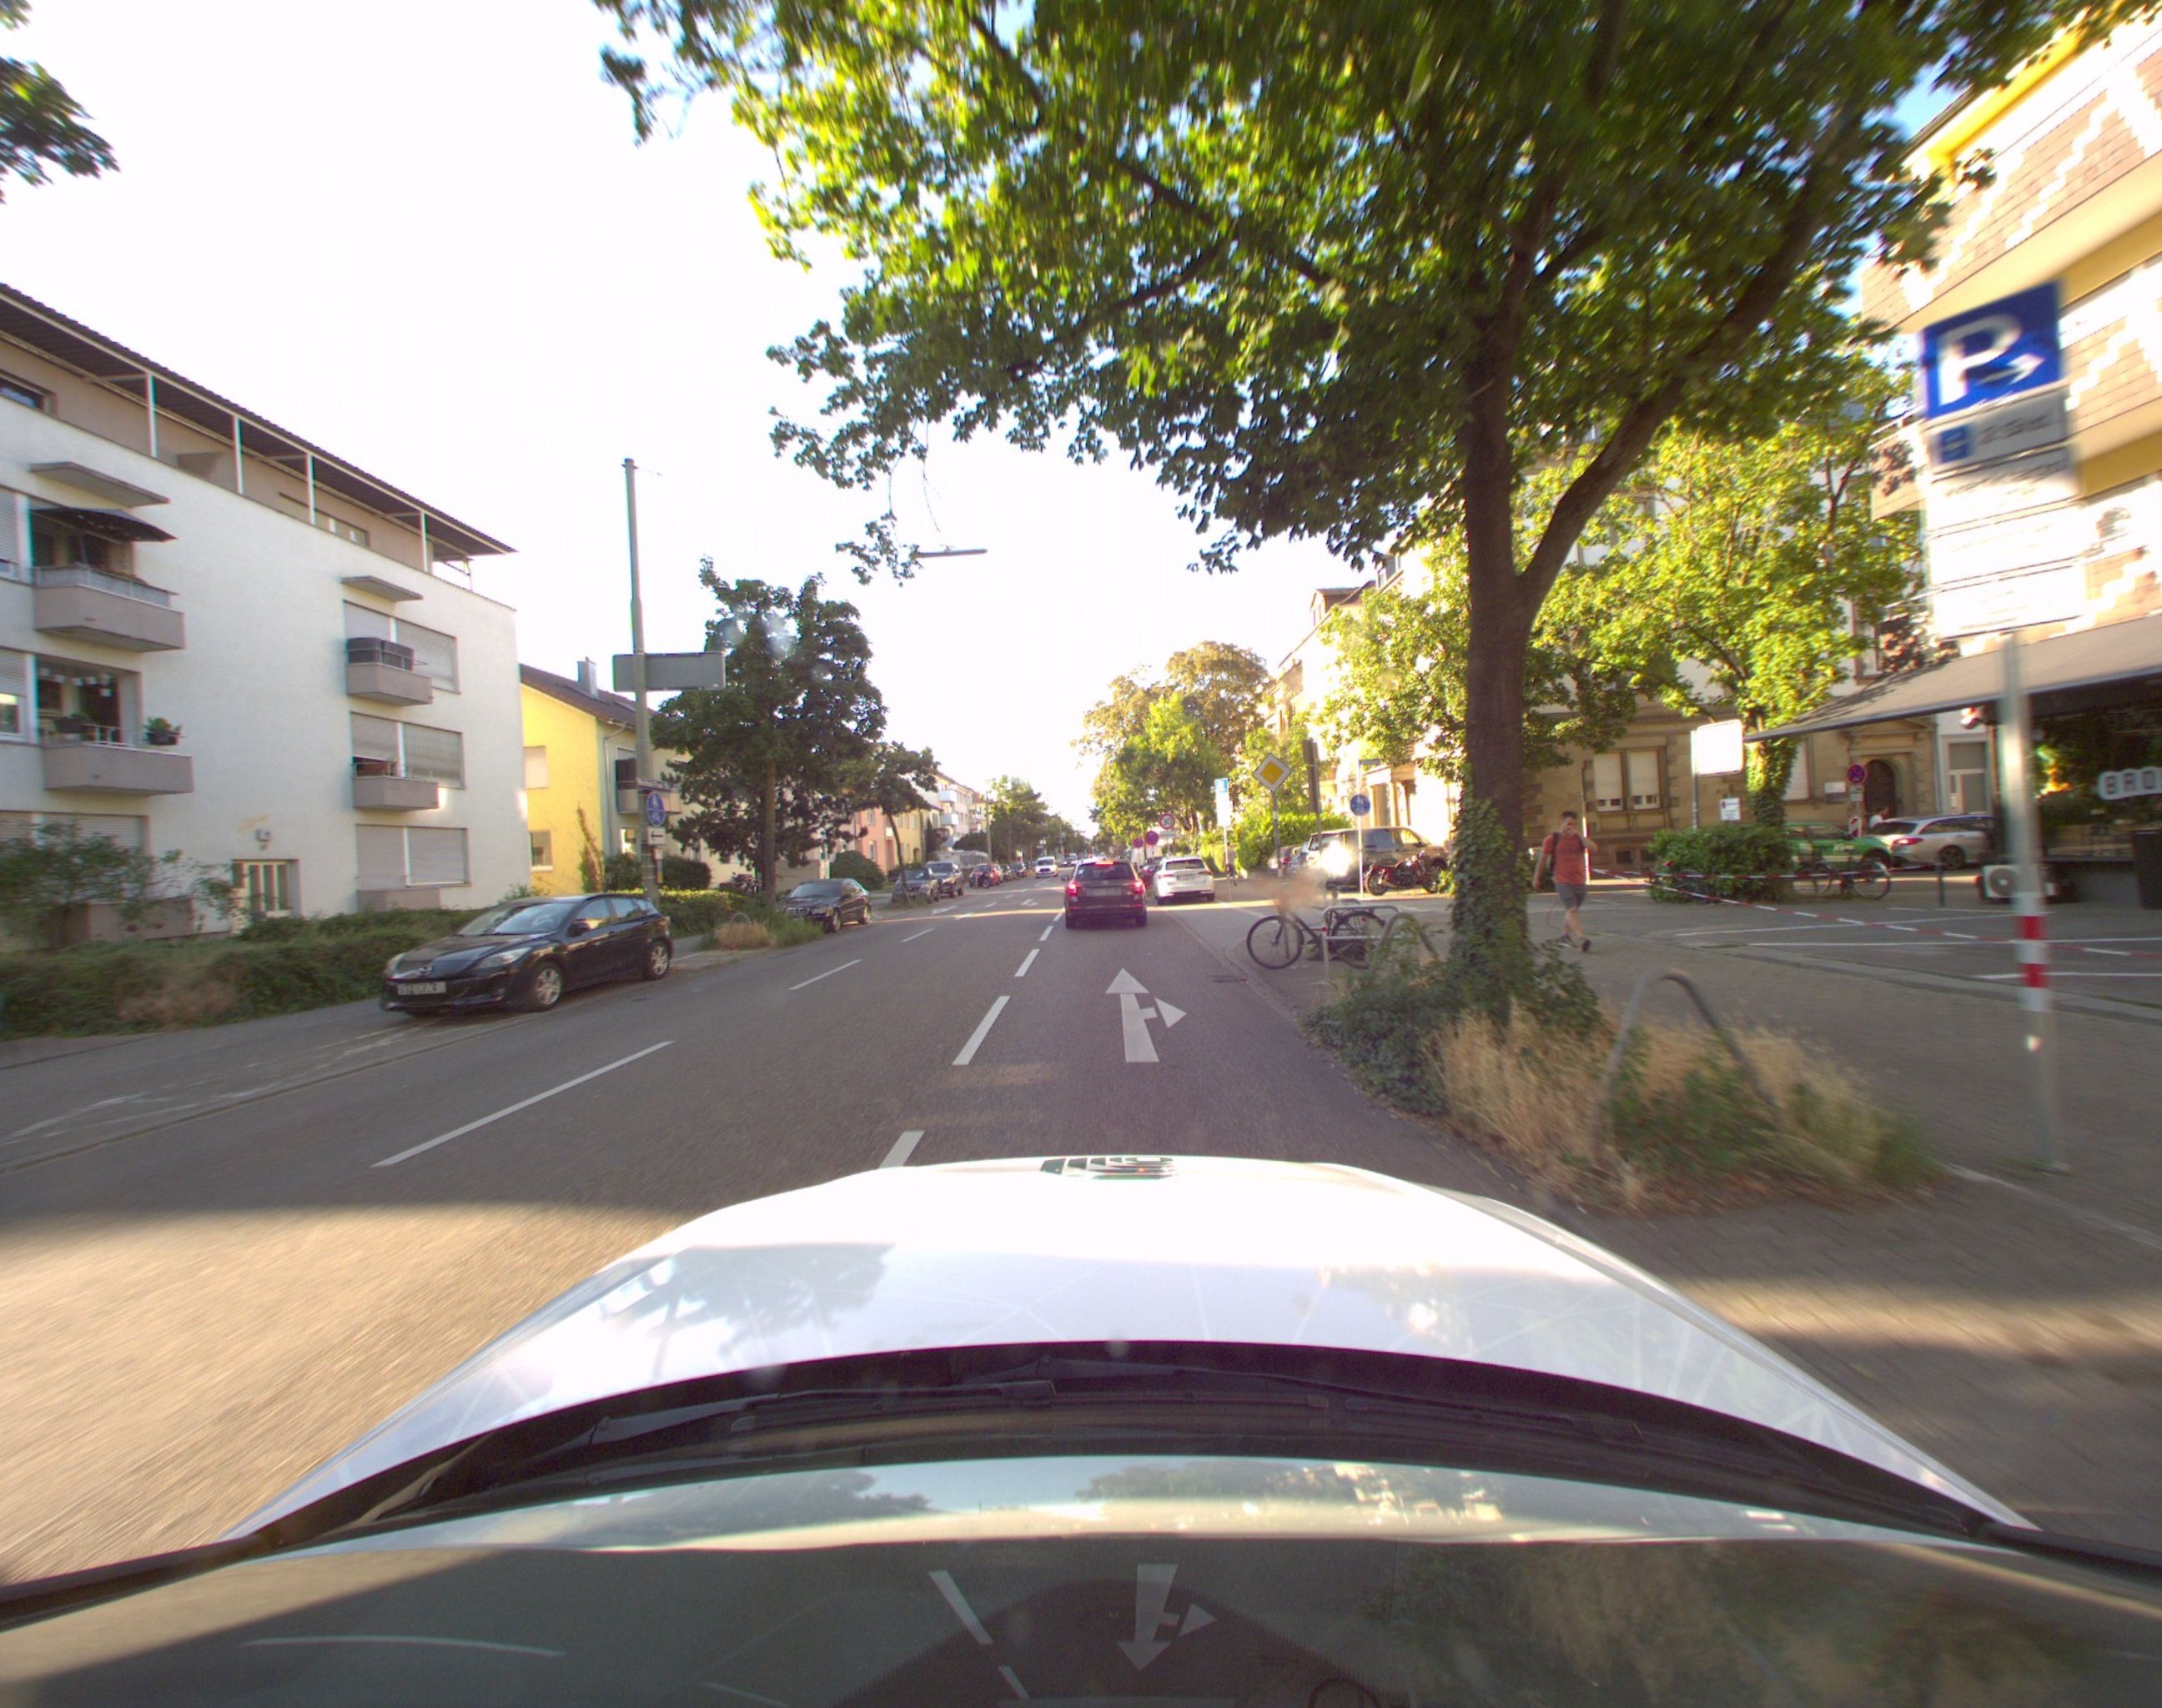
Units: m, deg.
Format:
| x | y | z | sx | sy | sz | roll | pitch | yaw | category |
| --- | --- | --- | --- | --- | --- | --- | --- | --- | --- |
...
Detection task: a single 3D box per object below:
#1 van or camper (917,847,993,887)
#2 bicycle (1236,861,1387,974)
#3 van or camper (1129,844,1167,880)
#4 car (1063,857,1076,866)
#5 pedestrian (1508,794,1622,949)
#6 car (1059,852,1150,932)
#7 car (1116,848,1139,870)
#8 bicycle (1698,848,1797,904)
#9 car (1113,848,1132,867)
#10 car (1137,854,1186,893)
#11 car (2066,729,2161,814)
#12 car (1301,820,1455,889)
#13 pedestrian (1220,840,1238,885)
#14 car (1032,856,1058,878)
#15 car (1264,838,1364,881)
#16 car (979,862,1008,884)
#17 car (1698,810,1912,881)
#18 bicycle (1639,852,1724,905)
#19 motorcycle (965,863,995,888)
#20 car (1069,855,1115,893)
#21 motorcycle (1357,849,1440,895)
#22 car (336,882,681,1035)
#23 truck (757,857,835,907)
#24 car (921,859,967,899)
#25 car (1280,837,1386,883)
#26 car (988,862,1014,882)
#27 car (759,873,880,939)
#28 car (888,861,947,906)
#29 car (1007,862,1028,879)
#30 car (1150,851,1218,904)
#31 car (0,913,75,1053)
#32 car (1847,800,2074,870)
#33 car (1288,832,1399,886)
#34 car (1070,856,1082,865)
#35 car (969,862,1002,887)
| x | y | z | sx | sy | sz | roll | pitch | yaw | category |
| --- | --- | --- | --- | --- | --- | --- | --- | --- | --- |
| -13.444 | 1.357 | 87.244 | 7.618 | 3.874 | 1.999 | -3 | 0 | -1 | van or camper |
| 2.857 | 0.786 | 10.179 | 1.659 | 1.226 | 0.638 | -6 | 0 | 13 | bicycle |
| 4.067 | 0.454 | 49.837 | 1.986 | 2.013 | 4.001 | -3 | 0 | 1 | van or camper |
| -2.020 | 1.370 | 145.115 | 1.986 | 1.508 | 4.001 | -3 | 0 | 1 | car |
| 5.977 | 0.201 | 10.110 | 0.754 | 1.796 | 0.905 | -3 | 0 | -4 | pedestrian |
| 0.540 | 0.752 | 18.217 | 1.723 | 1.493 | 3.952 | -3 | 0 | 2 | car |
| 4.141 | 0.395 | 73.140 | 1.724 | 1.815 | 3.950 | -3 | 0 | 0 | car |
| 12.145 | 0.387 | 14.900 | 0.341 | 0.950 | 1.579 | -5 | 0 | -4 | bicycle |
| 4.376 | 0.325 | 85.633 | 1.724 | 1.815 | 3.950 | -3 | 0 | 0 | car |
| 3.345 | 0.762 | 34.324 | 1.813 | 1.413 | 4.115 | -3 | 0 | 3 | car |
| 20.657 | -1.576 | 14.830 | 3.334 | 1.418 | 1.661 | -3 | 0 | 1 | car |
| 9.440 | 0.001 | 25.826 | 4.558 | 1.892 | 1.898 | -3 | 0 | -27 | car |
| 6.004 | 0.341 | 32.995 | 0.533 | 1.794 | 0.688 | -3 | 0 | 3 | pedestrian |
| -3.134 | 1.089 | 71.339 | 1.870 | 1.757 | 4.179 | -3 | 0 | 1 | car |
| 9.695 | 0.222 | 33.946 | 3.814 | 1.525 | 1.501 | -3 | 0 | -21 | car |
| -6.595 | 1.411 | 61.624 | 1.658 | 1.432 | 3.276 | -3 | 0 | 1 | car |
| 19.142 | -0.213 | 21.668 | 3.903 | 1.585 | 1.930 | -3 | 0 | 1 | car |
| 11.388 | 0.449 | 15.494 | 0.341 | 0.950 | 1.579 | -1 | -1 | -4 | bicycle |
| -6.334 | 1.365 | 51.003 | 0.771 | 1.512 | 2.006 | -3 | 0 | -41 | motorcycle |
| 0.409 | 0.825 | 35.572 | 1.725 | 1.493 | 3.947 | -3 | 0 | -3 | car |
| 8.664 | 0.489 | 22.250 | 2.047 | 1.125 | 0.524 | -3 | 0 | -4 | motorcycle |
| -7.637 | 1.278 | 11.500 | 1.711 | 1.497 | 4.249 | -3 | 0 | 1 | car |
| -13.088 | 1.254 | 37.482 | 2.904 | 2.093 | 1.546 | -3 | 0 | 0 | truck |
| -6.779 | 1.216 | 40.636 | 1.501 | 1.757 | 3.694 | -3 | 0 | 1 | car |
| 9.853 | 0.222 | 31.820 | 3.814 | 1.525 | 1.501 | -3 | 0 | -21 | car |
| -6.464 | 1.438 | 66.168 | 1.658 | 1.432 | 3.276 | -3 | 0 | 1 | car |
| -7.148 | 1.365 | 22.784 | 1.747 | 1.420 | 4.427 | -3 | 0 | 2 | car |
| -7.155 | 1.269 | 35.972 | 1.744 | 1.740 | 3.592 | -3 | 0 | 1 | car |
| -6.026 | 1.533 | 77.437 | 1.658 | 1.432 | 3.276 | -3 | 0 | 1 | car |
| 3.196 | 0.685 | 25.940 | 1.813 | 1.413 | 4.115 | -3 | 0 | 3 | car |
| -13.763 | 1.509 | 8.435 | 3.978 | 1.479 | 1.998 | -2 | 0 | -3 | car |
| 23.486 | -0.486 | 21.873 | 3.903 | 1.585 | 1.930 | -3 | 0 | 1 | car |
| 9.439 | 0.156 | 29.209 | 3.823 | 1.679 | 1.498 | -3 | 0 | -29 | car |
| -0.978 | 1.227 | 158.454 | 1.986 | 1.508 | 4.001 | -3 | 0 | 1 | car |
| -6.518 | 1.353 | 55.932 | 1.658 | 1.511 | 4.179 | -3 | 0 | 1 | car |
